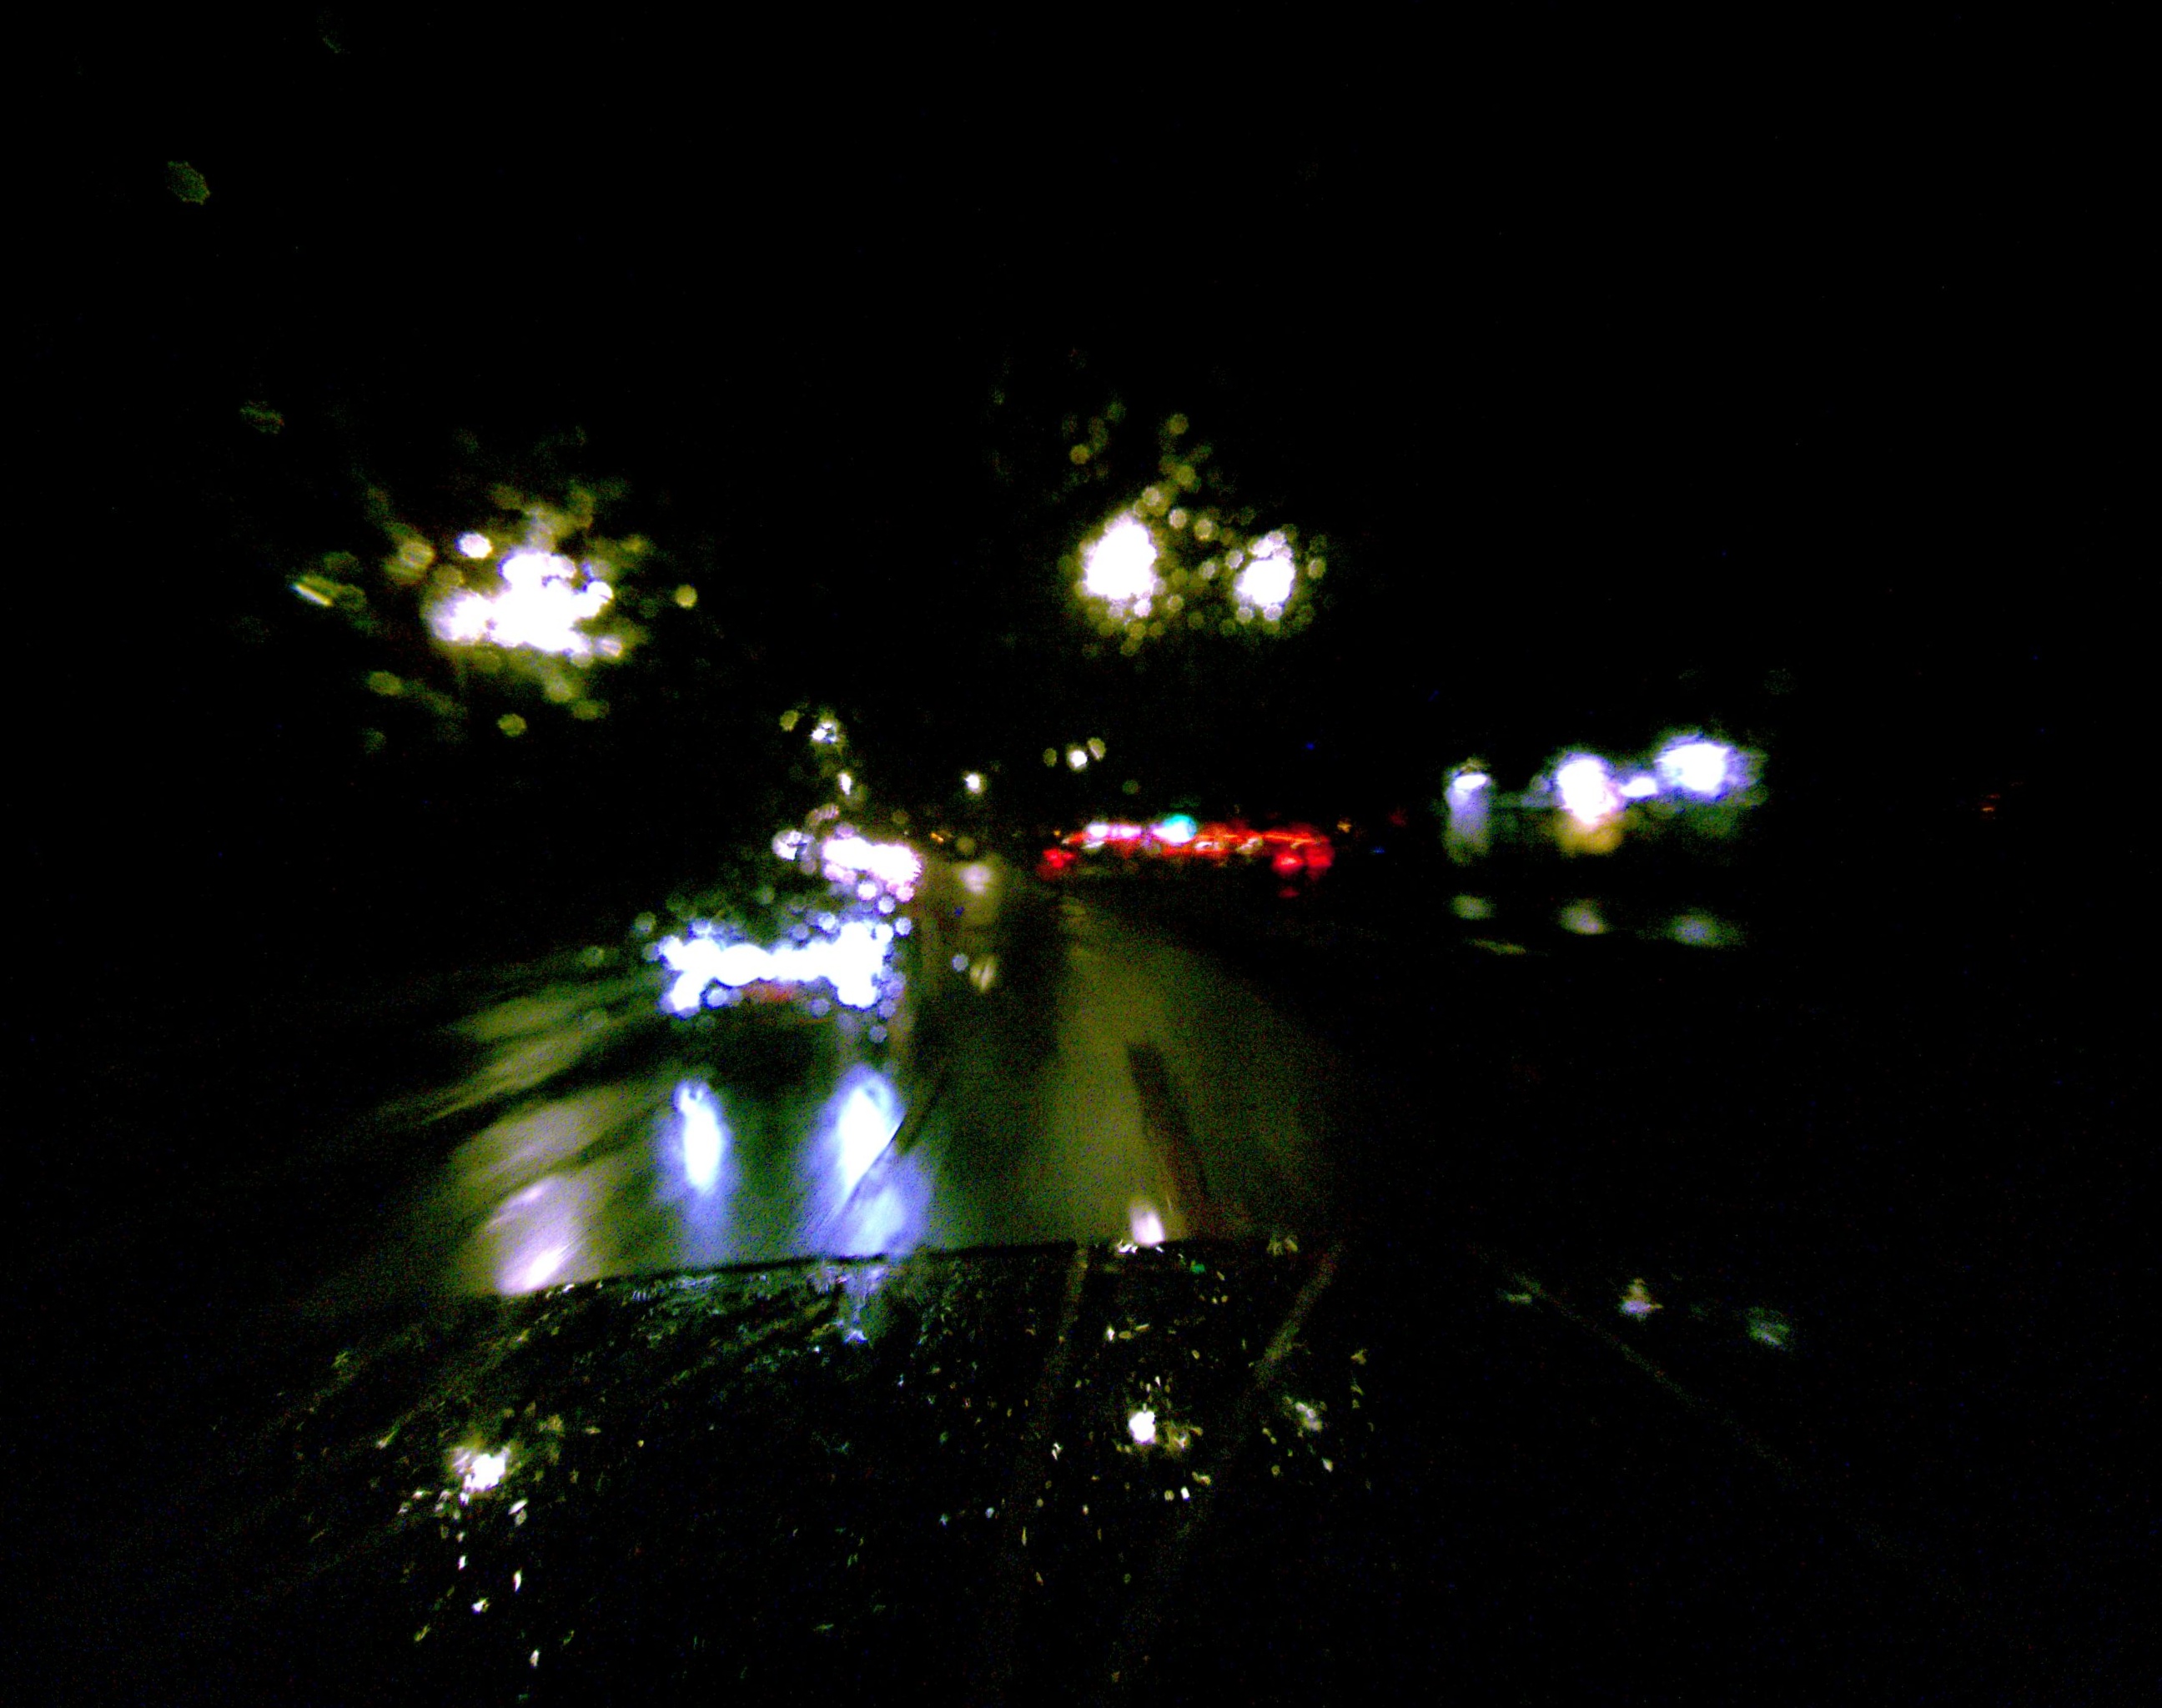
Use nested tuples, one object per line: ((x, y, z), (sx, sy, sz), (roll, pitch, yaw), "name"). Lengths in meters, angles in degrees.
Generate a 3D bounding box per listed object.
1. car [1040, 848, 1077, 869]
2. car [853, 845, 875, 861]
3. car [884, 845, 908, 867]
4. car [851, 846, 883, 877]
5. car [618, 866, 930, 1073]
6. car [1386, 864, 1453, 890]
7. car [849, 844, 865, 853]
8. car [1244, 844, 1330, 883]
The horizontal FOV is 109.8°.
((-1.799, 0.314, 58.432), (1.873, 1.455, 4.633), (2, 0, -14), "car")
((-27.089, -0.144, 94.813), (2.003, 1.922, 3.992), (3, -1, -23), "car")
((-17.333, 0.229, 71.289), (2.001, 1.922, 3.996), (3, -1, -12), "car")
((-14.047, 0.428, 49.794), (1.939, 1.862, 3.993), (-1, 2, -17), "car")
((-2.884, 0.961, 8.205), (1.999, 1.515, 3.998), (-2, 0, -5), "car")
((25.442, 1.733, 57.158), (4.433, 1.713, 1.798), (2, 0, -15), "car")
((-38.863, -0.922, 131.770), (1.773, 1.449, 3.943), (-2, 2, -27), "car")
((8.758, 0.383, 32.696), (2.001, 1.584, 3.996), (0, 0, -11), "car")
